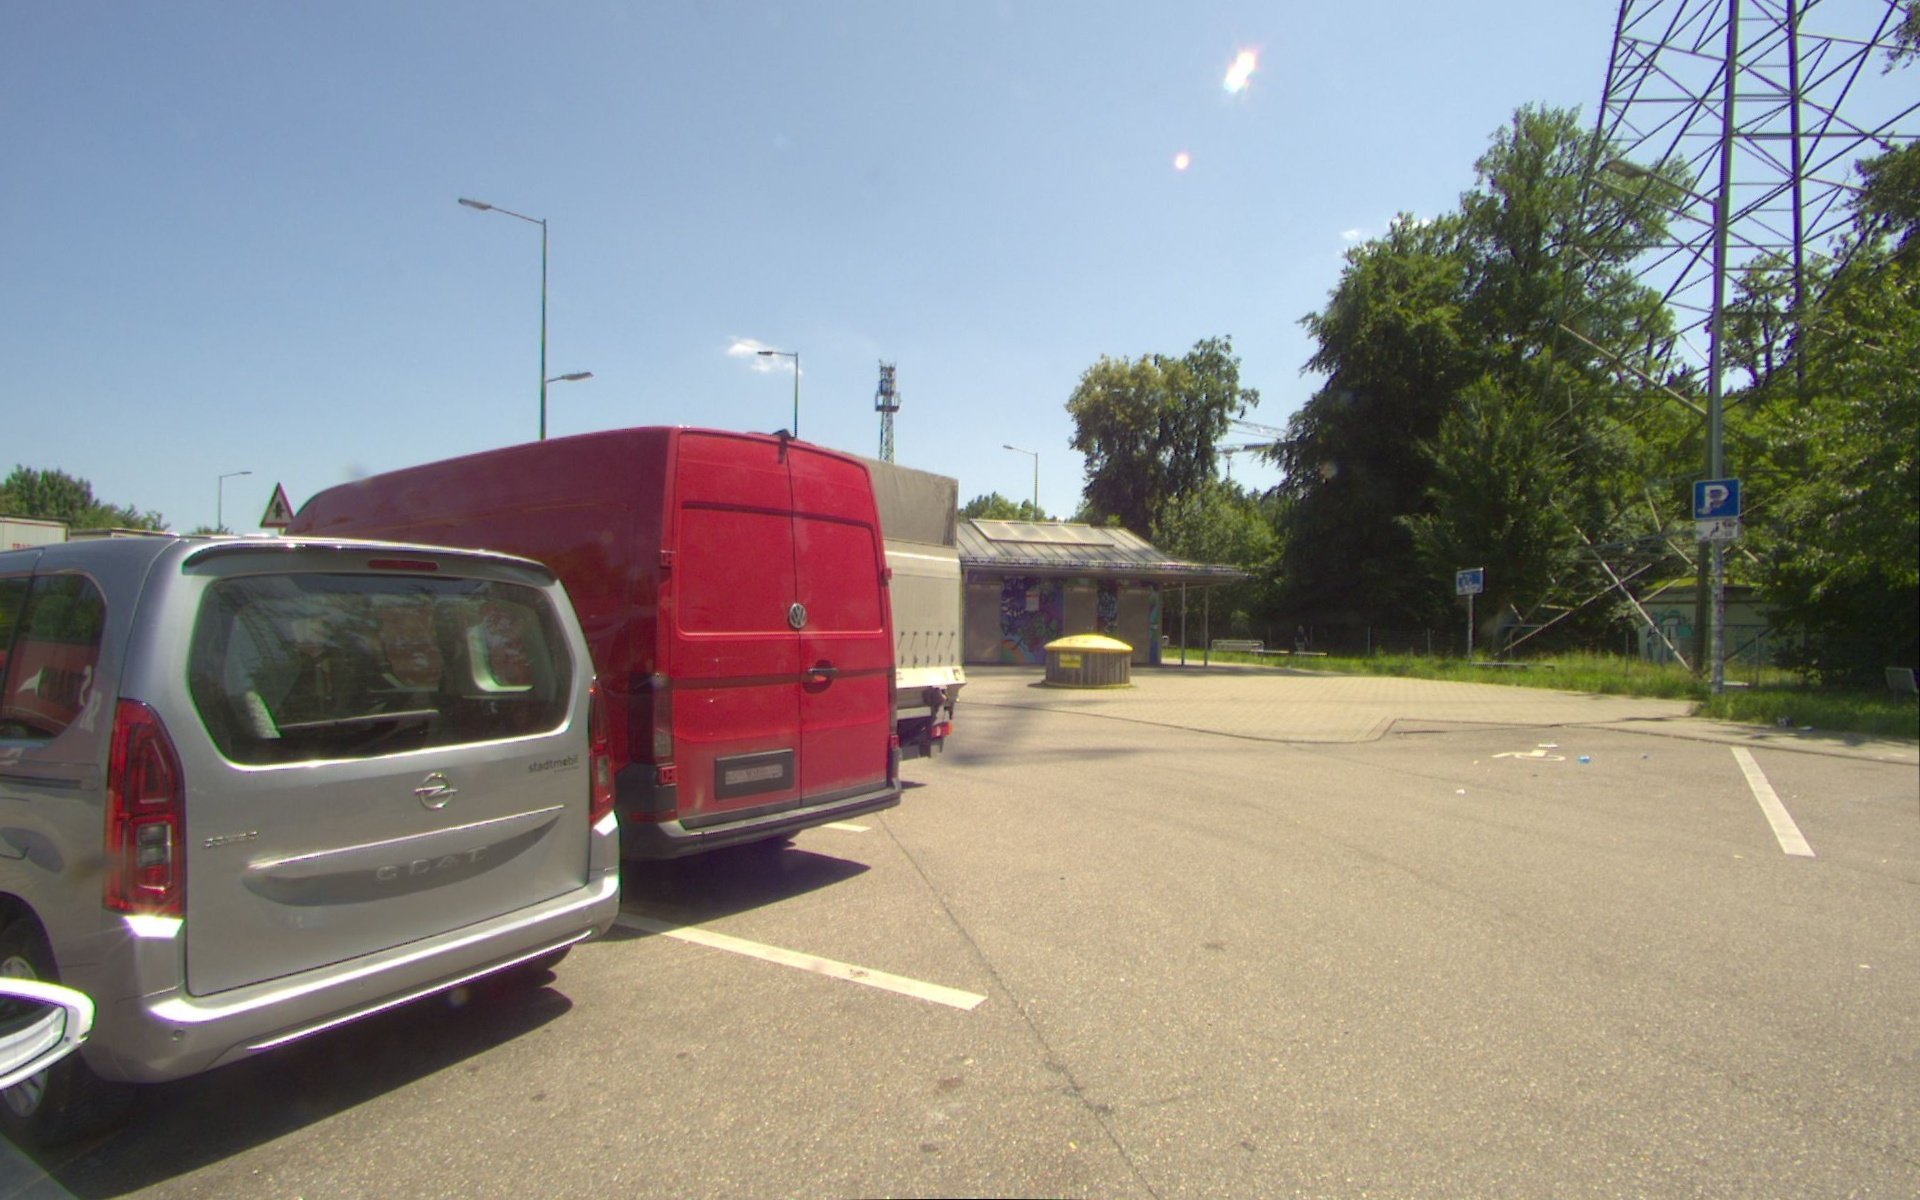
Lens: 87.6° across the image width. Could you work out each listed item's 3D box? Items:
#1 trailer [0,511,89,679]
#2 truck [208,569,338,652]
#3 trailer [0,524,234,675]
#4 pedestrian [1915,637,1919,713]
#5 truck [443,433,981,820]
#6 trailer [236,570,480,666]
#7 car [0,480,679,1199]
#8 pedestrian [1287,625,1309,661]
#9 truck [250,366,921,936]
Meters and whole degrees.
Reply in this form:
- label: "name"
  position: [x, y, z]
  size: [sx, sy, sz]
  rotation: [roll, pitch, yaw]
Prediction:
- label: "trailer"
  position: [-29.035, -0.266, 28.153]
  size: [14.184, 4.040, 2.808]
  rotation: [2, -2, 33]
- label: "truck"
  position: [-32.116, 0.460, 46.771]
  size: [5.813, 3.566, 2.799]
  rotation: [2, -2, 32]
- label: "trailer"
  position: [-27.972, -0.108, 31.799]
  size: [14.184, 4.040, 2.808]
  rotation: [2, -2, 33]
- label: "pedestrian"
  position: [17.241, 1.317, 17.498]
  size: [0.690, 1.352, 0.561]
  rotation: [-1, -1, 33]
- label: "truck"
  position: [-2.754, 0.299, 10.304]
  size: [5.581, 2.949, 2.449]
  rotation: [-2, -2, 37]
- label: "trailer"
  position: [-26.121, 0.639, 42.915]
  size: [14.184, 3.552, 2.808]
  rotation: [2, -2, 33]
- label: "car"
  position: [-3.396, 0.682, 4.265]
  size: [4.113, 1.887, 1.868]
  rotation: [1, -2, 31]
- label: "pedestrian"
  position: [15.812, 2.006, 46.857]
  size: [0.723, 1.658, 0.792]
  rotation: [0, -1, -8]
- label: "truck"
  position: [-2.904, 0.332, 7.065]
  size: [5.238, 2.655, 1.972]
  rotation: [-2, -2, 37]
